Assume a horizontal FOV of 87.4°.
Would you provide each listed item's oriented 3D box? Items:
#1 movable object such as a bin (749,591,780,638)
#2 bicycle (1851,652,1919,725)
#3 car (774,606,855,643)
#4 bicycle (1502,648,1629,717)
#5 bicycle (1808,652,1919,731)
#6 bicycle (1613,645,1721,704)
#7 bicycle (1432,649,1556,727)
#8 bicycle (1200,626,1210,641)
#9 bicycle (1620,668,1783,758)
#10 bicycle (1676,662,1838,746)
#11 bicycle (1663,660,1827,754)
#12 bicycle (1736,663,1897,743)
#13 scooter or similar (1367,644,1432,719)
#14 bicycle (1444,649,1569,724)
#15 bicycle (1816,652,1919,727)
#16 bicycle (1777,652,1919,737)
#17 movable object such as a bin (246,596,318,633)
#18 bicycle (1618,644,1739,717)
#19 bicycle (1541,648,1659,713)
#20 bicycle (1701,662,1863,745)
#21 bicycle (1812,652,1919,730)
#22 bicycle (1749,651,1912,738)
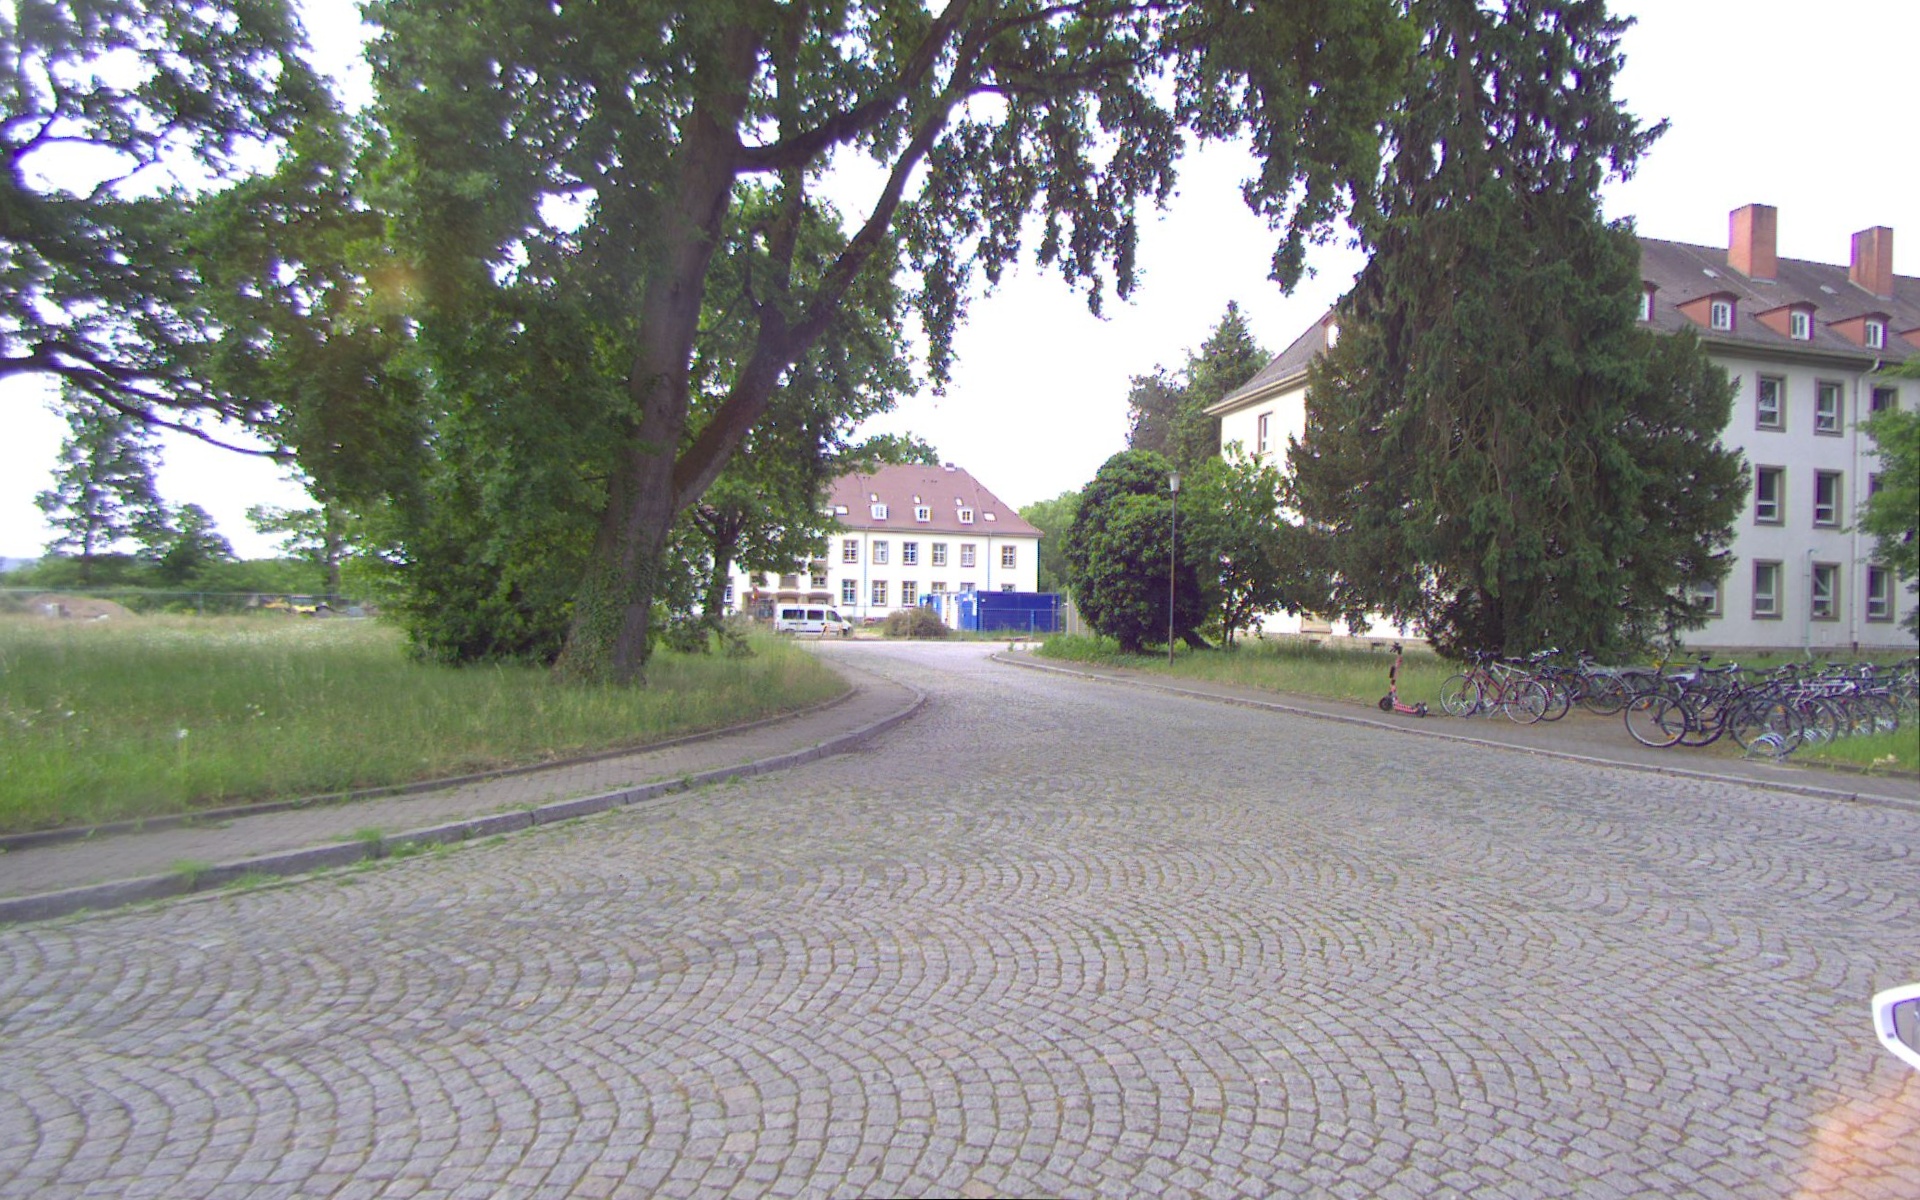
[{"bbox_3d":[-16.706,1.263,85.610,1.968,3.821,5.297,1,-1,-18],"label":"movable object such as a bin"},{"bbox_3d":[15.630,1.448,16.265,0.472,1.126,1.751,2,-1,-30],"label":"bicycle"},{"bbox_3d":[-9.811,1.678,67.679,5.190,2.375,1.905,1,-1,-14],"label":"car"},{"bbox_3d":[10.581,1.421,17.592,0.613,1.079,1.805,2,-1,-40],"label":"bicycle"},{"bbox_3d":[14.302,1.404,15.548,0.472,1.126,1.751,2,-1,-30],"label":"bicycle"},{"bbox_3d":[13.909,1.453,19.806,0.545,1.055,1.671,2,-1,-28],"label":"bicycle"},{"bbox_3d":[8.723,1.410,16.482,0.545,1.129,1.754,2,-1,-32],"label":"bicycle"},{"bbox_3d":[18.904,2.576,77.520,0.504,1.182,1.806,1,-1,9],"label":"bicycle"},{"bbox_3d":[9.325,1.391,12.684,0.475,1.021,1.601,3,-3,-45],"label":"bicycle"},{"bbox_3d":[10.708,1.373,13.564,0.472,1.021,1.654,2,-3,-30],"label":"bicycle"},{"bbox_3d":[10.006,1.335,12.839,0.475,1.088,1.601,3,-3,-45],"label":"bicycle"},{"bbox_3d":[11.978,1.413,14.102,0.472,1.021,1.654,2,-3,-30],"label":"bicycle"},{"bbox_3d":[7.626,1.397,17.462,0.352,1.226,1.133,1,-1,-18],"label":"scooter or similar"},{"bbox_3d":[9.103,1.409,16.795,0.545,1.129,1.789,2,-1,-32],"label":"bicycle"},{"bbox_3d":[14.995,1.437,16.304,0.436,1.126,1.642,1,-1,-24],"label":"bicycle"},{"bbox_3d":[13.226,1.368,14.821,0.473,1.126,1.747,2,-1,-36],"label":"bicycle"},{"bbox_3d":[-48.595,1.038,71.989,5.249,2.590,1.997,0,-1,28],"label":"movable object such as a bin"},{"bbox_3d":[12.880,1.419,18.056,0.543,1.186,1.745,1,-1,-22],"label":"bicycle"},{"bbox_3d":[11.695,1.449,18.388,0.547,1.079,1.734,2,-1,-40],"label":"bicycle"},{"bbox_3d":[11.264,1.391,13.825,0.472,1.021,1.654,2,-3,-30],"label":"bicycle"},{"bbox_3d":[14.593,1.423,15.921,0.436,1.126,1.642,1,-1,-24],"label":"bicycle"},{"bbox_3d":[12.707,1.352,14.727,0.472,1.126,1.751,2,-1,-30],"label":"bicycle"}]
